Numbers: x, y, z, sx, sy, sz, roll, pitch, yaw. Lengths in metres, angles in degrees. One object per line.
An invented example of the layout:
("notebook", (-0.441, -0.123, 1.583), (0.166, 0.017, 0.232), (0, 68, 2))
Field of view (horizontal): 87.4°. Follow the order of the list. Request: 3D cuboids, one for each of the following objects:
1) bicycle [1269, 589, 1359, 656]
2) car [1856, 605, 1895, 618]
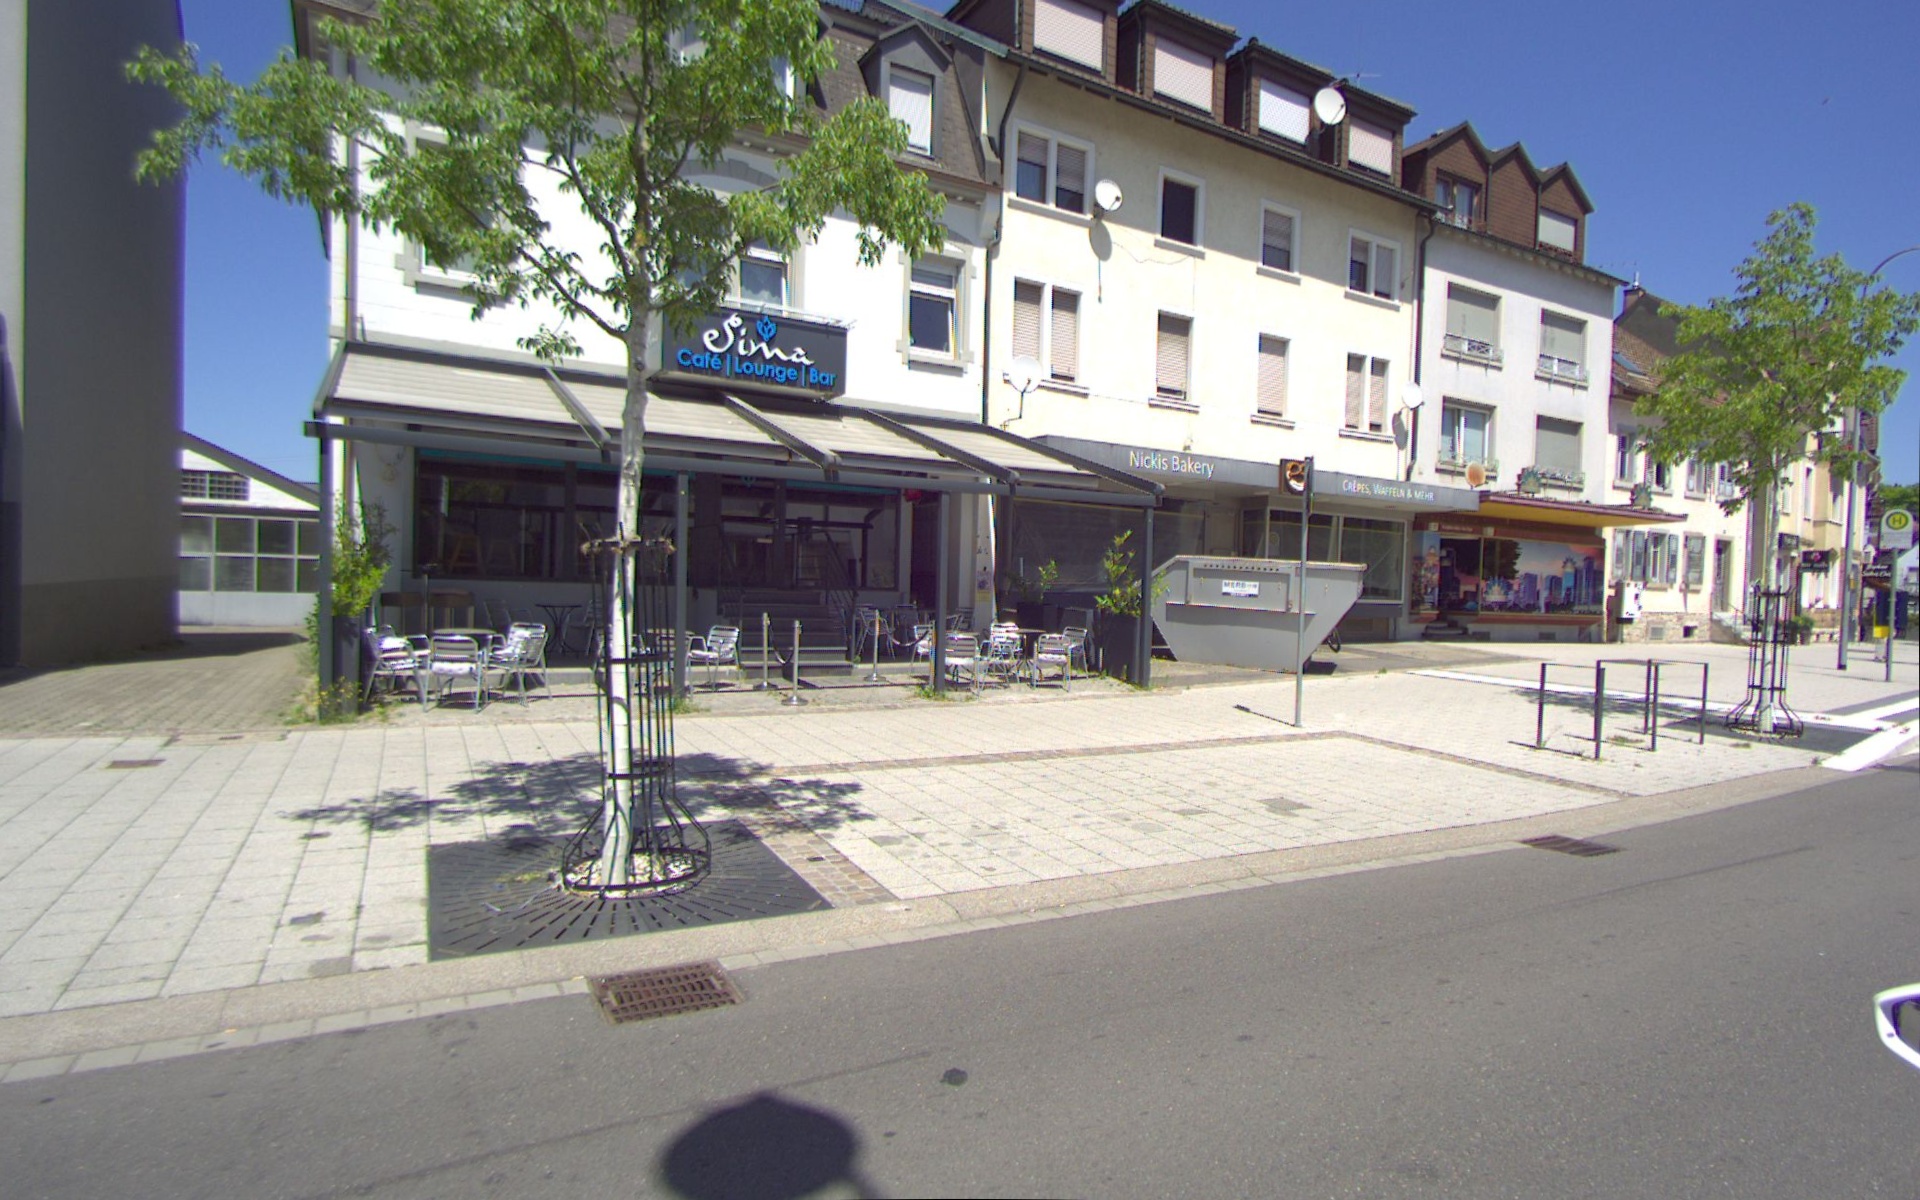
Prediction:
("bicycle", (7.360, 0.449, 20.983), (0.609, 1.251, 1.757), (1, 3, -29))
("car", (112.752, 1.415, 123.783), (1.818, 1.609, 4.002), (0, 0, 13))
